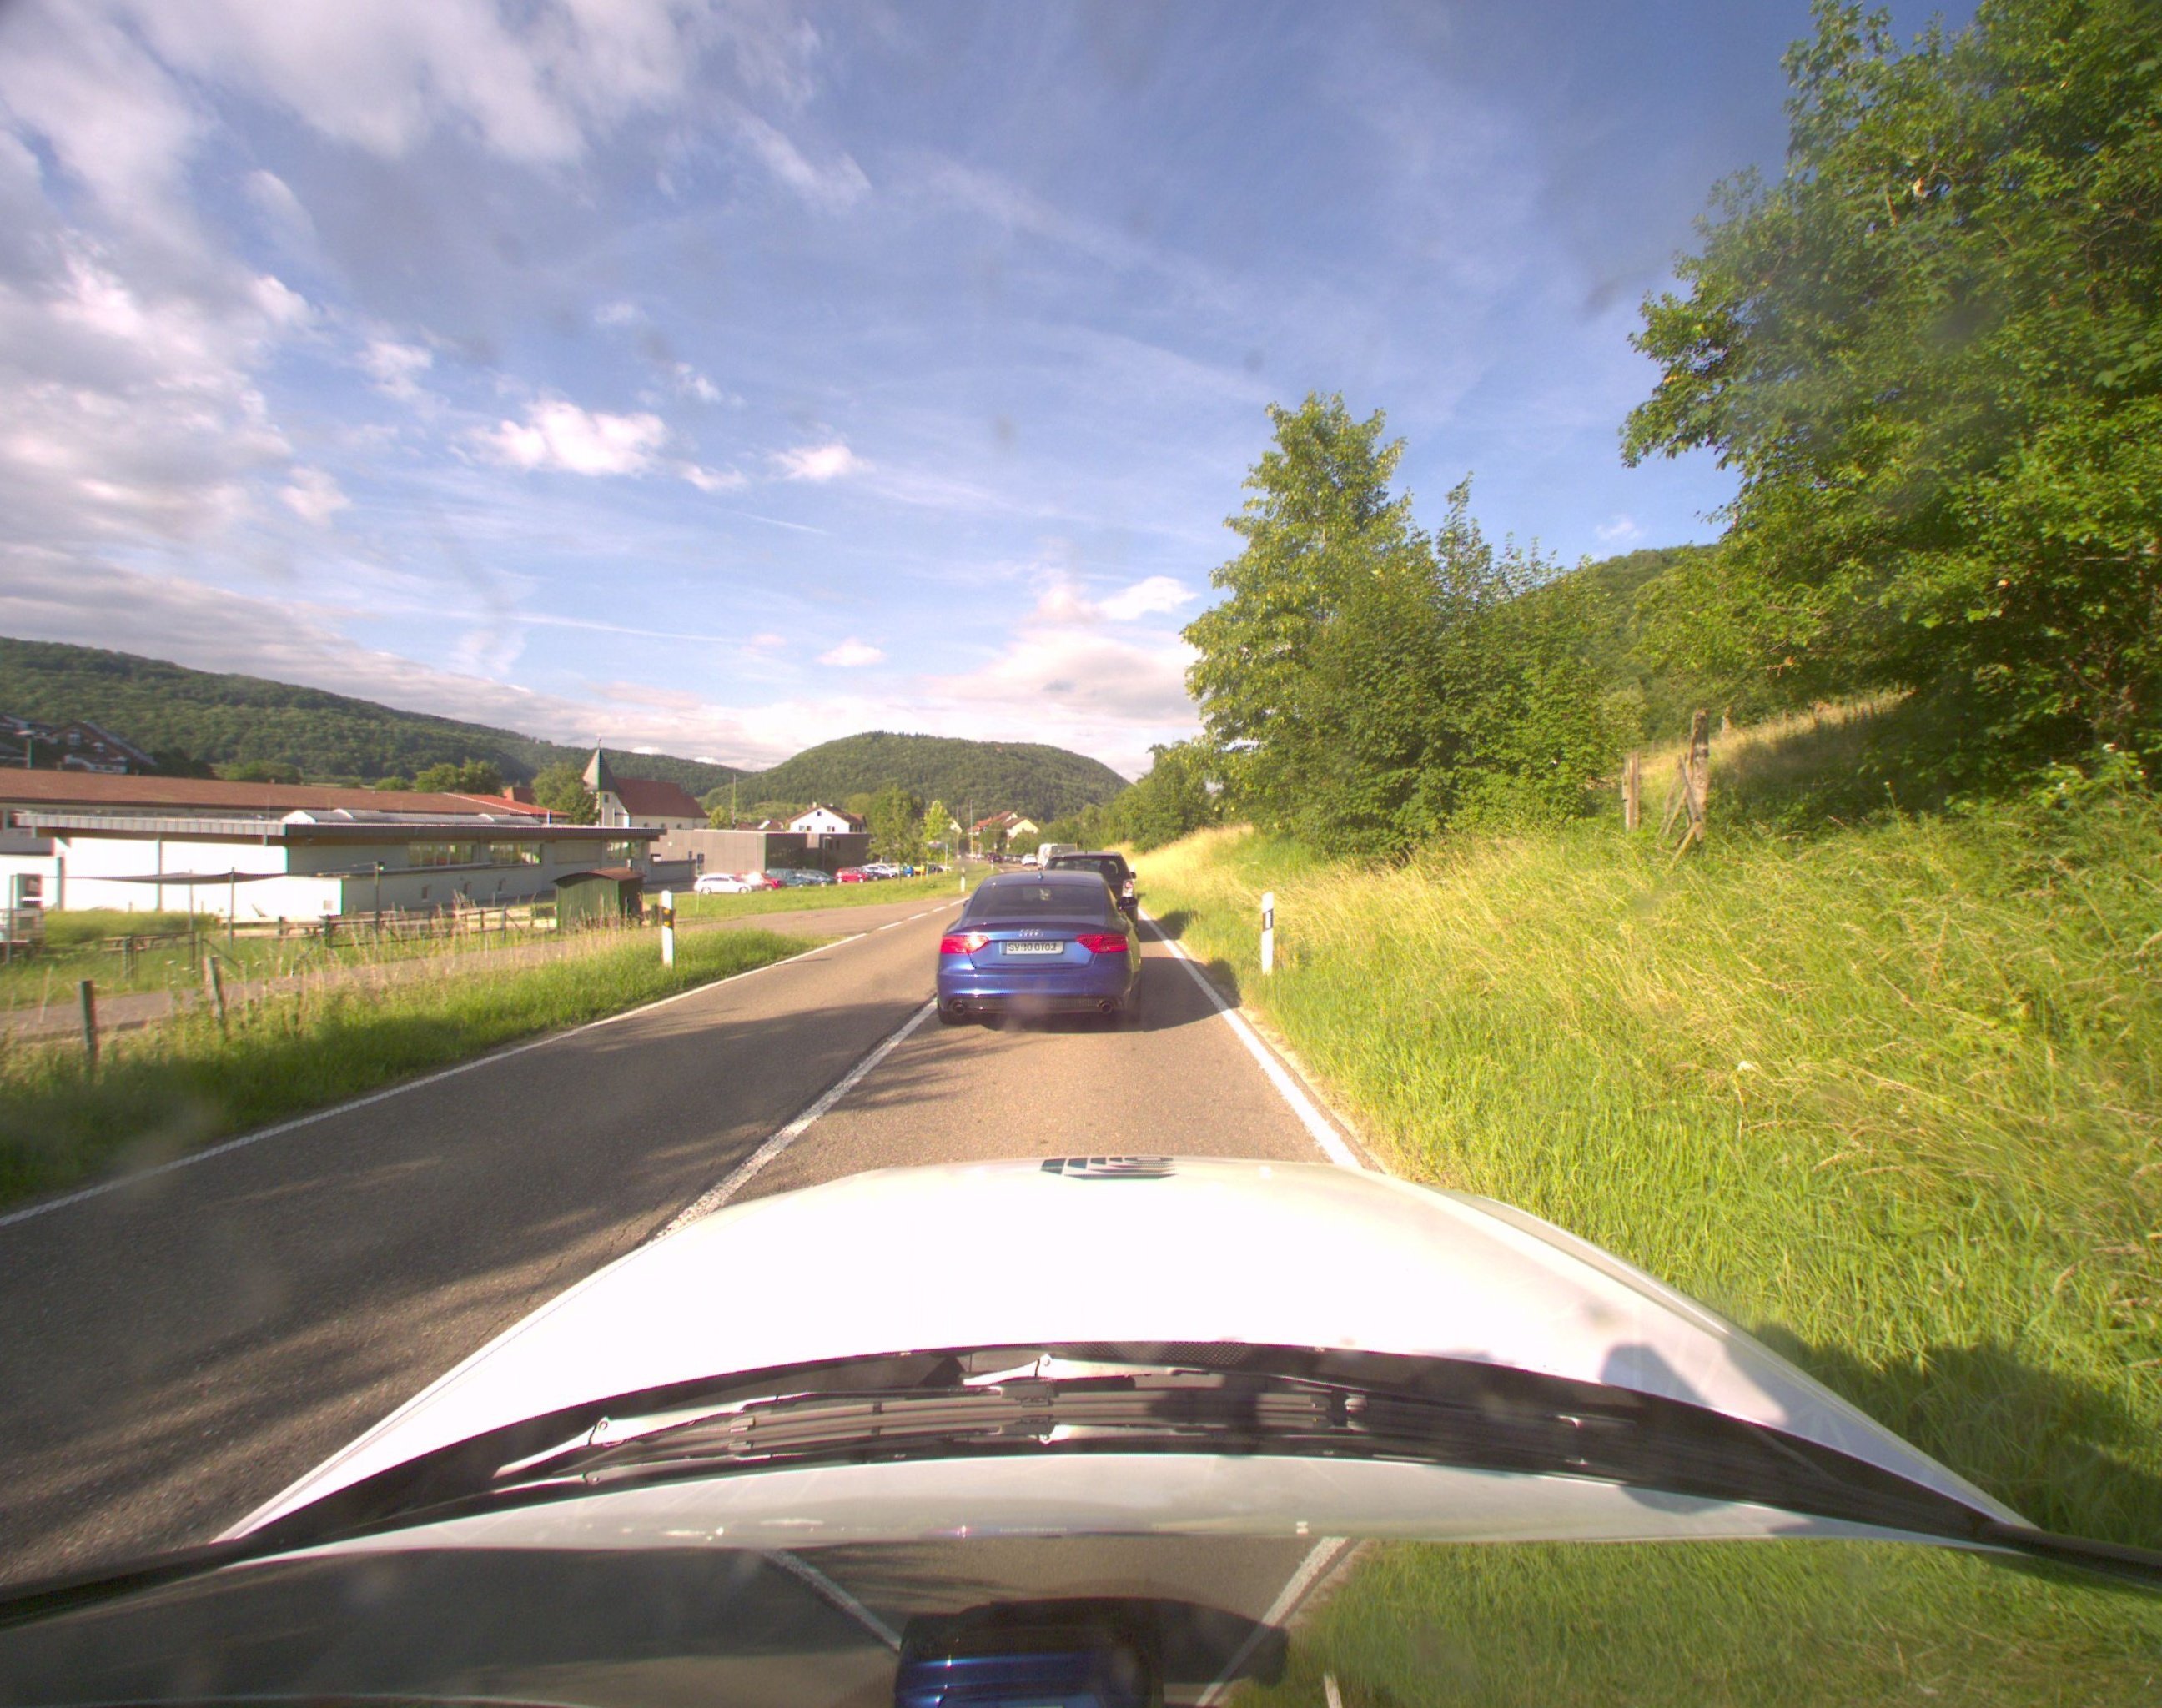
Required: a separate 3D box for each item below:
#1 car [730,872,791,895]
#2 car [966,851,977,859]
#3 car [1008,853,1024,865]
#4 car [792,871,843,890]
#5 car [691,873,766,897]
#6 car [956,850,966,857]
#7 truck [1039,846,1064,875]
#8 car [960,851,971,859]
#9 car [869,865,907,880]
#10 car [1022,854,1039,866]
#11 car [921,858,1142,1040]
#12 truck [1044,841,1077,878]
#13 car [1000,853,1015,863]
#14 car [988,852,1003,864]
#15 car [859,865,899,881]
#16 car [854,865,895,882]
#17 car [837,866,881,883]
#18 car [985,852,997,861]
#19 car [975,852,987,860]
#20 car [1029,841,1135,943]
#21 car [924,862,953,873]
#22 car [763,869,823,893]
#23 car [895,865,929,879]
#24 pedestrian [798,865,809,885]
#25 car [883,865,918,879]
[{"bbox_3d":[-25.222,2.338,64.220,3.975,1.711,1.999,0,-1,-1],"label":"car"},{"bbox_3d":[-23.842,0.240,177.500,1.850,1.712,3.977,0,-1,-17],"label":"car"},{"bbox_3d":[-9.935,0.733,123.558,1.847,1.712,3.982,0,-1,-13],"label":"car"},{"bbox_3d":[-24.109,2.424,74.514,3.975,1.711,1.999,0,-1,-1],"label":"car"},{"bbox_3d":[-26.446,2.320,61.239,4.717,1.711,1.999,0,-1,-1],"label":"car"},{"bbox_3d":[-28.600,-0.177,193.991,1.850,1.712,3.976,0,-1,-17],"label":"car"},{"bbox_3d":[-2.777,0.593,76.404,2.225,2.570,6.700,0,-1,-3],"label":"truck"},{"bbox_3d":[-26.320,0.296,185.962,1.850,1.712,3.976,0,-1,-17],"label":"car"},{"bbox_3d":[-22.824,2.198,96.286,3.975,1.711,1.999,0,-1,-1],"label":"car"},{"bbox_3d":[-6.595,0.779,106.984,1.845,1.482,3.987,0,-1,-9],"label":"car"},{"bbox_3d":[-0.303,0.772,8.362,1.747,1.430,3.849,0,-1,3],"label":"car"},{"bbox_3d":[-1.589,0.408,60.572,2.225,2.570,6.096,0,-1,-3],"label":"truck"},{"bbox_3d":[-12.228,0.664,135.148,1.847,1.712,3.982,0,-1,-13],"label":"car"},{"bbox_3d":[-13.301,0.644,127.116,1.848,1.712,3.981,0,-1,-13],"label":"car"},{"bbox_3d":[-23.030,2.169,93.004,3.975,1.711,1.999,0,-1,-1],"label":"car"},{"bbox_3d":[-22.671,2.132,89.337,3.975,1.711,1.999,0,-1,-1],"label":"car"},{"bbox_3d":[-23.114,2.094,84.796,3.975,1.711,1.999,0,-1,-1],"label":"car"},{"bbox_3d":[-17.183,0.441,154.750,1.848,1.712,3.981,0,-1,-13],"label":"car"},{"bbox_3d":[-20.738,0.386,169.258,1.849,1.712,3.978,0,-1,-16],"label":"car"},{"bbox_3d":[0.108,0.648,15.403,1.747,1.681,3.849,0,-1,3],"label":"car"},{"bbox_3d":[-20.837,1.951,119.283,3.975,1.579,1.752,0,-1,-1],"label":"car"},{"bbox_3d":[-24.724,2.319,70.023,4.393,2.008,1.999,0,-1,-1],"label":"car"},{"bbox_3d":[-21.666,2.267,104.725,3.975,1.711,1.999,0,-1,-1],"label":"car"},{"bbox_3d":[-29.349,2.213,86.264,0.822,2.014,0.973,0,-1,1],"label":"pedestrian"},{"bbox_3d":[-22.580,2.249,102.071,3.975,1.711,1.999,0,-1,-1],"label":"car"}]
